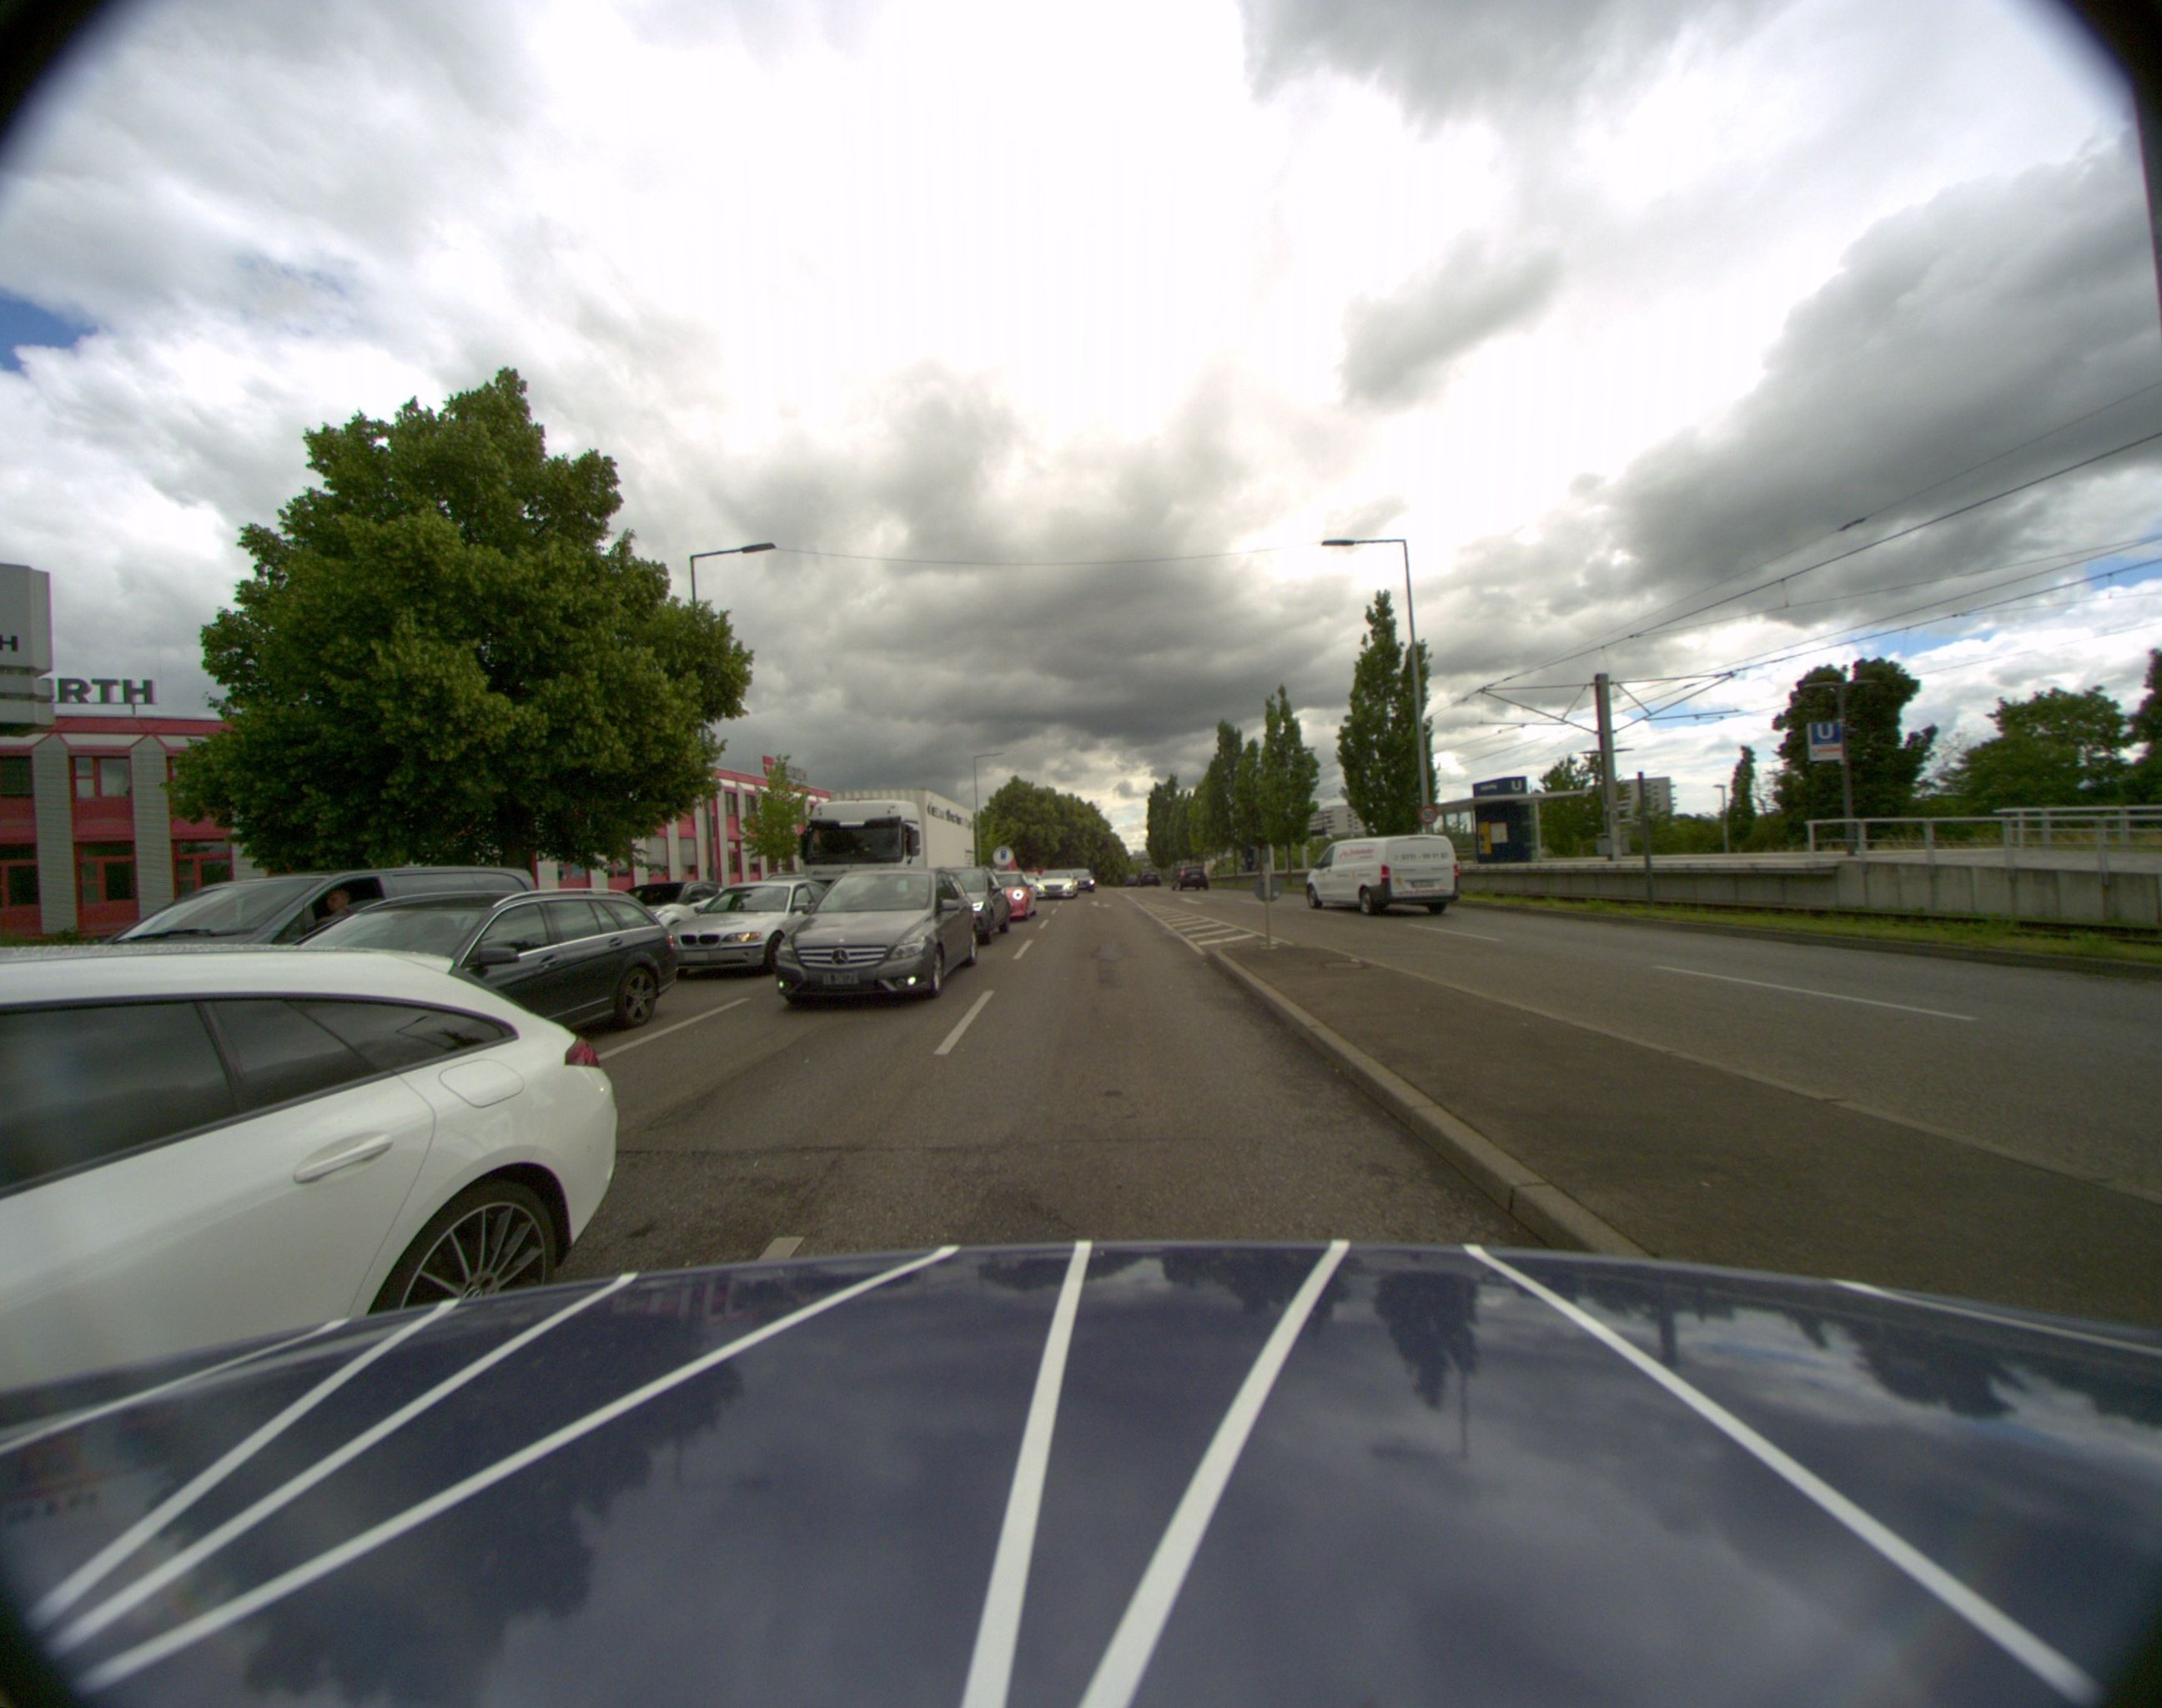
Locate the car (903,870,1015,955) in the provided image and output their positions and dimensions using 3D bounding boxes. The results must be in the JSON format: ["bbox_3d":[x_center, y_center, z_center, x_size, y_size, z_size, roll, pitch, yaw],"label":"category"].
[{"bbox_3d":[-2.429,1.117,15.952,1.628,1.484,3.838,-2,-1,1],"label":"car"}]

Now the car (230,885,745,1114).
[{"bbox_3d":[-5.329,1.160,7.761,1.750,1.476,4.356,-2,0,1],"label":"car"}]

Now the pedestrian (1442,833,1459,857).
[{"bbox_3d":[17.863,-0.435,36.749,0.601,1.148,0.447,-2,1,1],"label":"pedestrian"}]

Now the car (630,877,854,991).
[{"bbox_3d":[-5.414,1.193,12.847,1.750,1.375,4.290,-2,1,1],"label":"car"}]

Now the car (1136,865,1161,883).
[{"bbox_3d":[5.799,1.736,65.708,1.700,1.440,3.934,-2,-1,-2],"label":"car"}]

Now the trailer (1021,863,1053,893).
[{"bbox_3d":[-2.992,1.627,52.108,1.775,1.650,3.994,-2,3,1],"label":"trailer"}]

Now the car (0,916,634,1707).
[{"bbox_3d":[-2.684,1.052,0.687,1.849,1.498,4.529,-2,1,-1],"label":"car"}]

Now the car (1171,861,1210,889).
[{"bbox_3d":[6.355,1.189,44.229,1.700,1.440,3.660,-2,0,0],"label":"car"}]

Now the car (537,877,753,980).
[{"bbox_3d":[-8.597,1.384,15.483,1.844,1.507,4.106,-6,0,1],"label":"car"}]

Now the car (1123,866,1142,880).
[{"bbox_3d":[5.978,2.155,88.454,1.813,1.440,3.934,-2,0,-1],"label":"car"}]

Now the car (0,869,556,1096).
[{"bbox_3d":[-8.774,1.174,8.924,1.763,1.765,4.675,-2,1,2],"label":"car"}]

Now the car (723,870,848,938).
[{"bbox_3d":[-8.448,1.374,22.156,1.865,1.648,4.209,-4,-1,1],"label":"car"}]

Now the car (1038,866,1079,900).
[{"bbox_3d":[-1.055,1.370,37.504,1.804,1.403,4.317,-2,1,1],"label":"car"}]

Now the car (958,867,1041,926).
[{"bbox_3d":[-2.275,1.173,22.083,1.825,1.497,3.495,-2,-1,2],"label":"car"}]

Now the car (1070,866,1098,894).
[{"bbox_3d":[0.191,1.637,48.525,1.669,1.589,3.996,0,1,0],"label":"car"}]

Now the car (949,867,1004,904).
[{"bbox_3d":[-4.772,1.422,35.277,1.851,1.521,4.377,-2,-1,0],"label":"car"}]

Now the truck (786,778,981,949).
[{"bbox_3d":[-5.271,0.239,22.809,2.809,3.880,10.182,-2,0,2],"label":"truck"}]

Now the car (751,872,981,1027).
[{"bbox_3d":[-2.507,1.044,9.929,1.750,1.499,4.048,-2,-1,1],"label":"car"}]

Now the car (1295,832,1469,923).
[{"bbox_3d":[7.491,0.502,19.665,1.921,1.953,5.370,-2,1,-5],"label":"car"}]
